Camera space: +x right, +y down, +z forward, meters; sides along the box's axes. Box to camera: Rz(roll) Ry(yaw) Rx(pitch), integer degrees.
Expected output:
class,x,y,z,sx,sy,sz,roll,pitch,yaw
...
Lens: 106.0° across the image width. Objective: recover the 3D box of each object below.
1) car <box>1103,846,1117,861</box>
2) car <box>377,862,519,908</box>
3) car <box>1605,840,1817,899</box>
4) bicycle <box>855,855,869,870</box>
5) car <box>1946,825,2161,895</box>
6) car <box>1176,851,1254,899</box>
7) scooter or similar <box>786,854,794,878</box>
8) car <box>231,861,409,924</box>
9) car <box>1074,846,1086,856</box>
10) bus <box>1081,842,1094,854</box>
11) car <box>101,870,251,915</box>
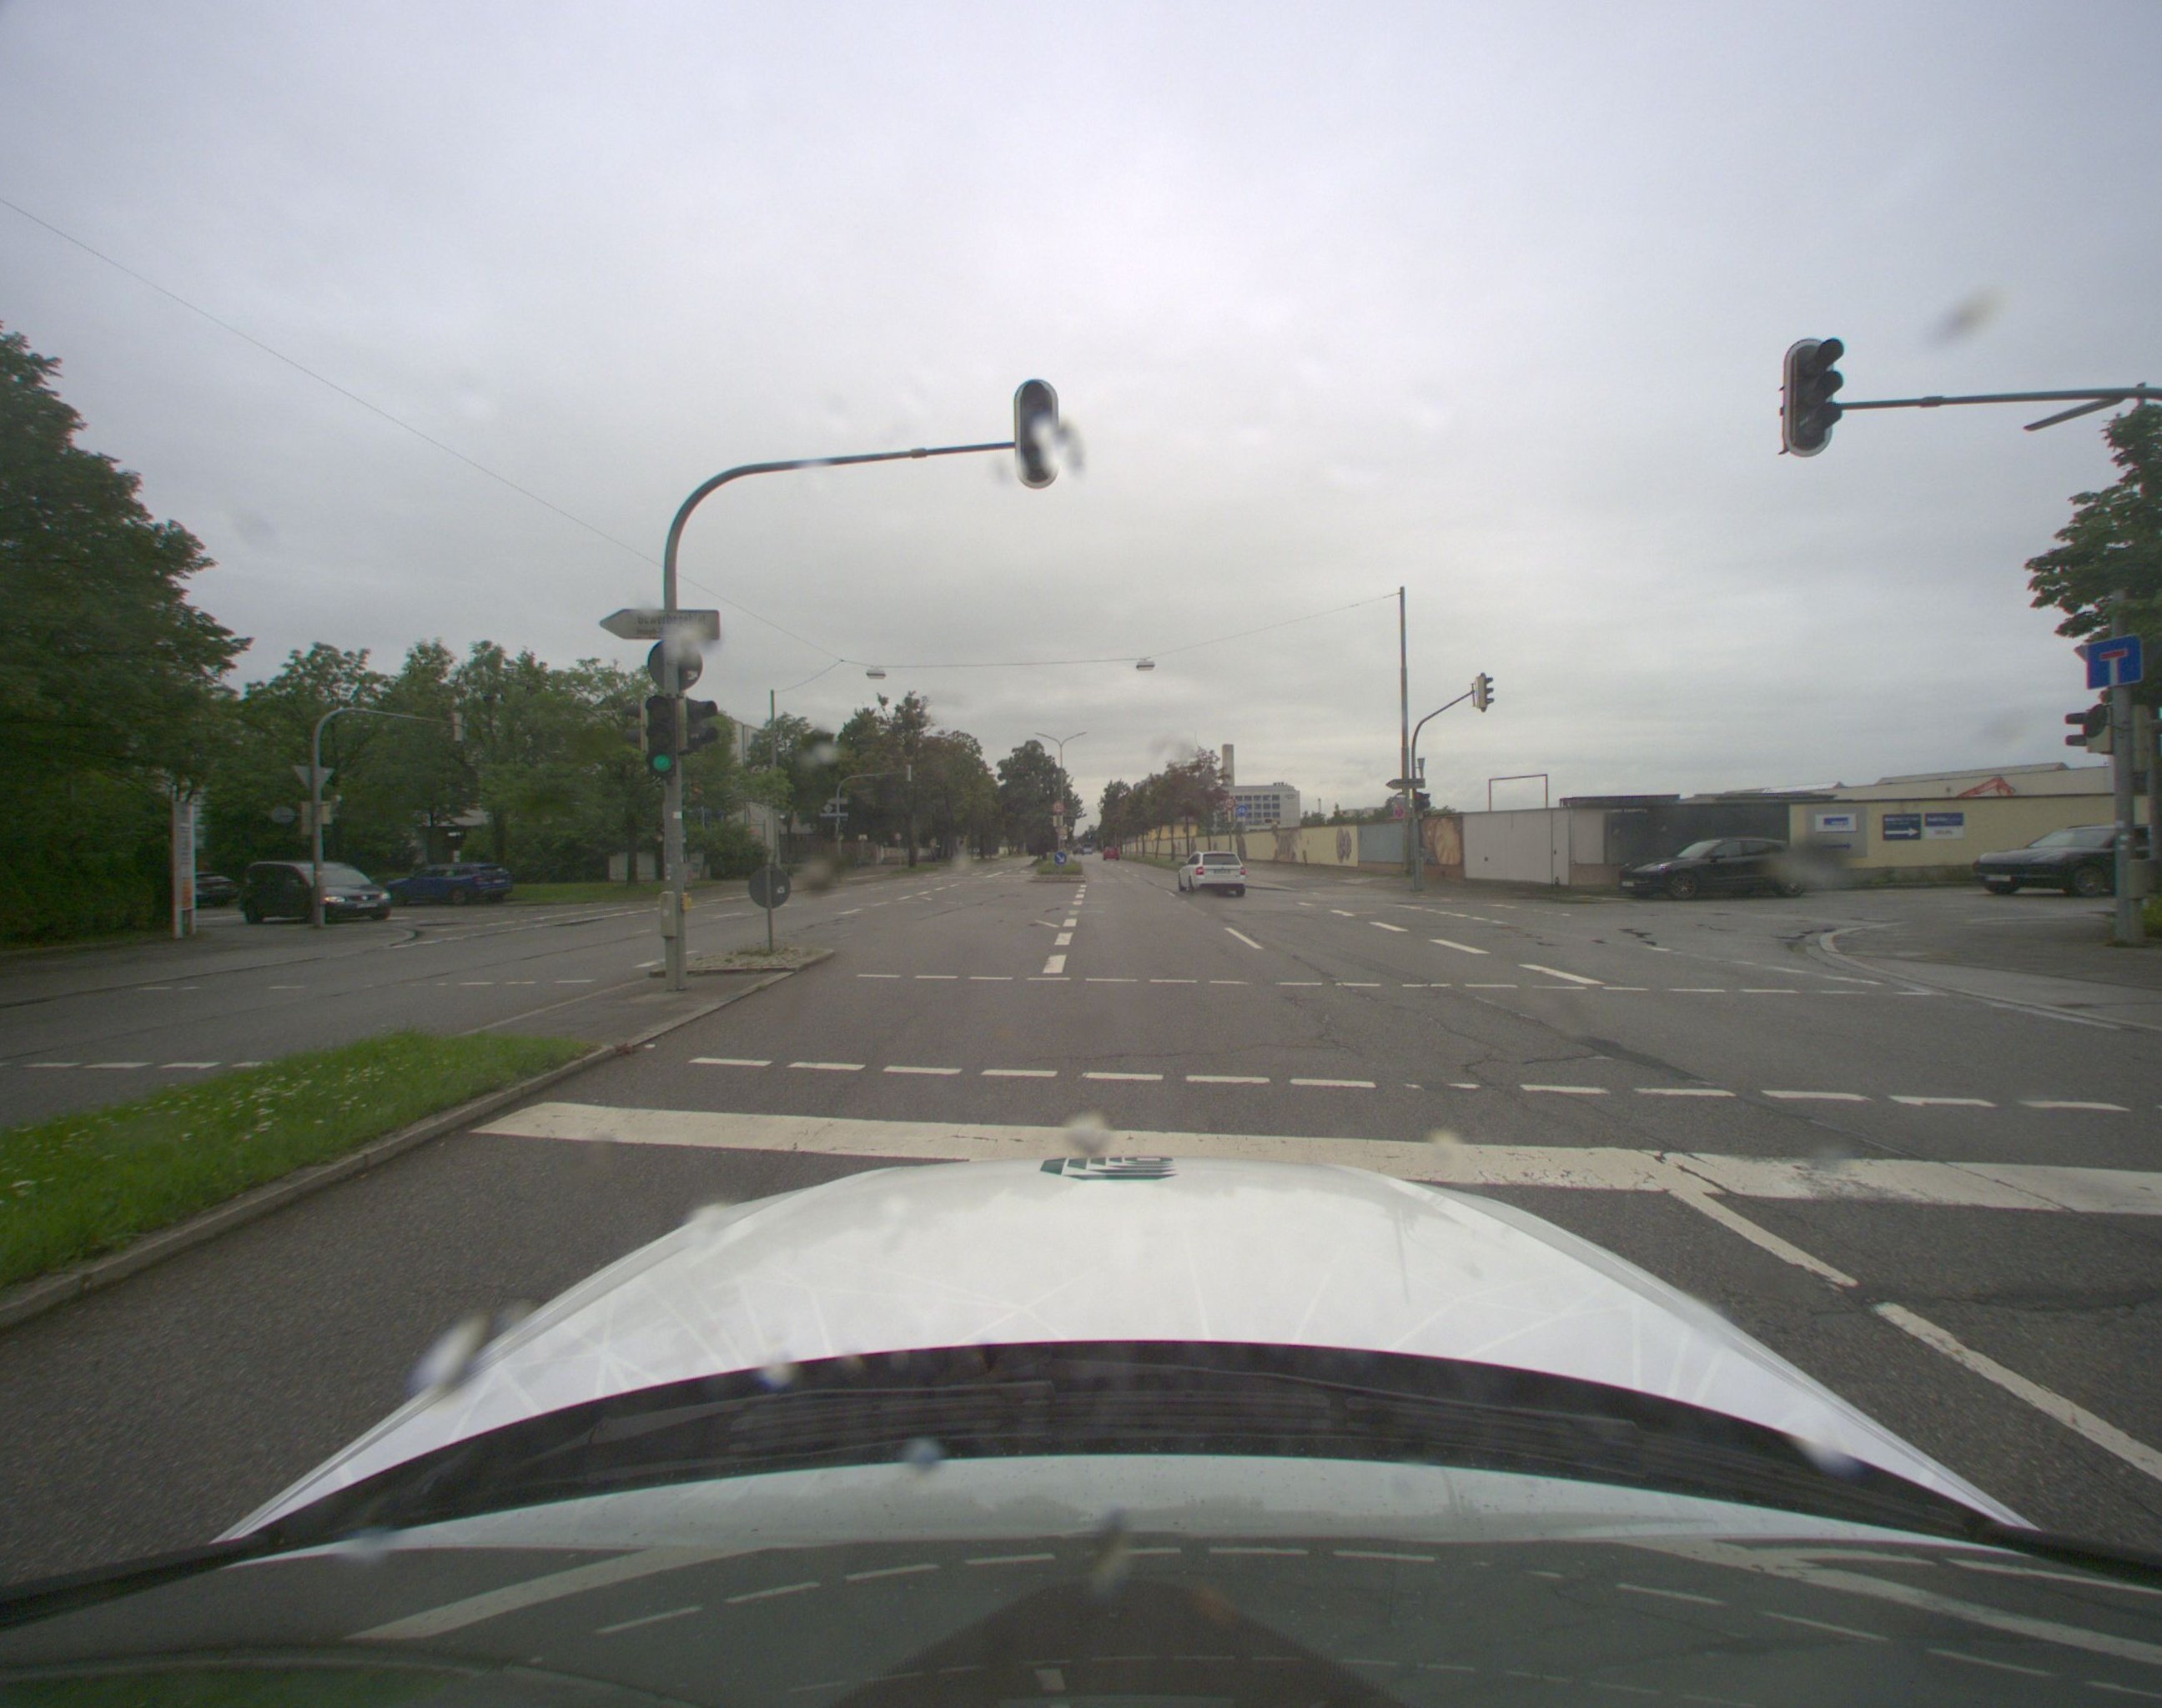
class,x,y,z,sx,sy,sz,roll,pitch,yaw
car,3.465,-0.059,97.385,1.480,1.715,3.548,0,0,-2
car,-25.401,1.235,32.740,4.245,1.574,2.005,-2,2,8
car,17.110,0.402,22.289,4.234,1.428,2.001,-2,0,1
bicycle,-18.605,0.719,69.263,0.581,1.295,2.452,0,0,-3
car,24.681,0.119,20.046,4.600,1.532,2.001,-2,0,1
car,4.398,0.626,27.379,1.872,1.467,4.501,0,0,0
scooter or similar,-17.857,0.710,49.960,0.371,1.424,1.398,0,0,-16
car,-22.803,1.146,24.404,4.734,1.723,2.011,-2,0,21
car,-0.219,-0.654,157.129,2.079,1.866,4.383,0,0,-2
bus,1.881,-1.695,225.807,3.212,3.126,10.337,0,0,-2
car,-37.287,1.564,33.627,4.136,1.574,1.764,-2,2,1
